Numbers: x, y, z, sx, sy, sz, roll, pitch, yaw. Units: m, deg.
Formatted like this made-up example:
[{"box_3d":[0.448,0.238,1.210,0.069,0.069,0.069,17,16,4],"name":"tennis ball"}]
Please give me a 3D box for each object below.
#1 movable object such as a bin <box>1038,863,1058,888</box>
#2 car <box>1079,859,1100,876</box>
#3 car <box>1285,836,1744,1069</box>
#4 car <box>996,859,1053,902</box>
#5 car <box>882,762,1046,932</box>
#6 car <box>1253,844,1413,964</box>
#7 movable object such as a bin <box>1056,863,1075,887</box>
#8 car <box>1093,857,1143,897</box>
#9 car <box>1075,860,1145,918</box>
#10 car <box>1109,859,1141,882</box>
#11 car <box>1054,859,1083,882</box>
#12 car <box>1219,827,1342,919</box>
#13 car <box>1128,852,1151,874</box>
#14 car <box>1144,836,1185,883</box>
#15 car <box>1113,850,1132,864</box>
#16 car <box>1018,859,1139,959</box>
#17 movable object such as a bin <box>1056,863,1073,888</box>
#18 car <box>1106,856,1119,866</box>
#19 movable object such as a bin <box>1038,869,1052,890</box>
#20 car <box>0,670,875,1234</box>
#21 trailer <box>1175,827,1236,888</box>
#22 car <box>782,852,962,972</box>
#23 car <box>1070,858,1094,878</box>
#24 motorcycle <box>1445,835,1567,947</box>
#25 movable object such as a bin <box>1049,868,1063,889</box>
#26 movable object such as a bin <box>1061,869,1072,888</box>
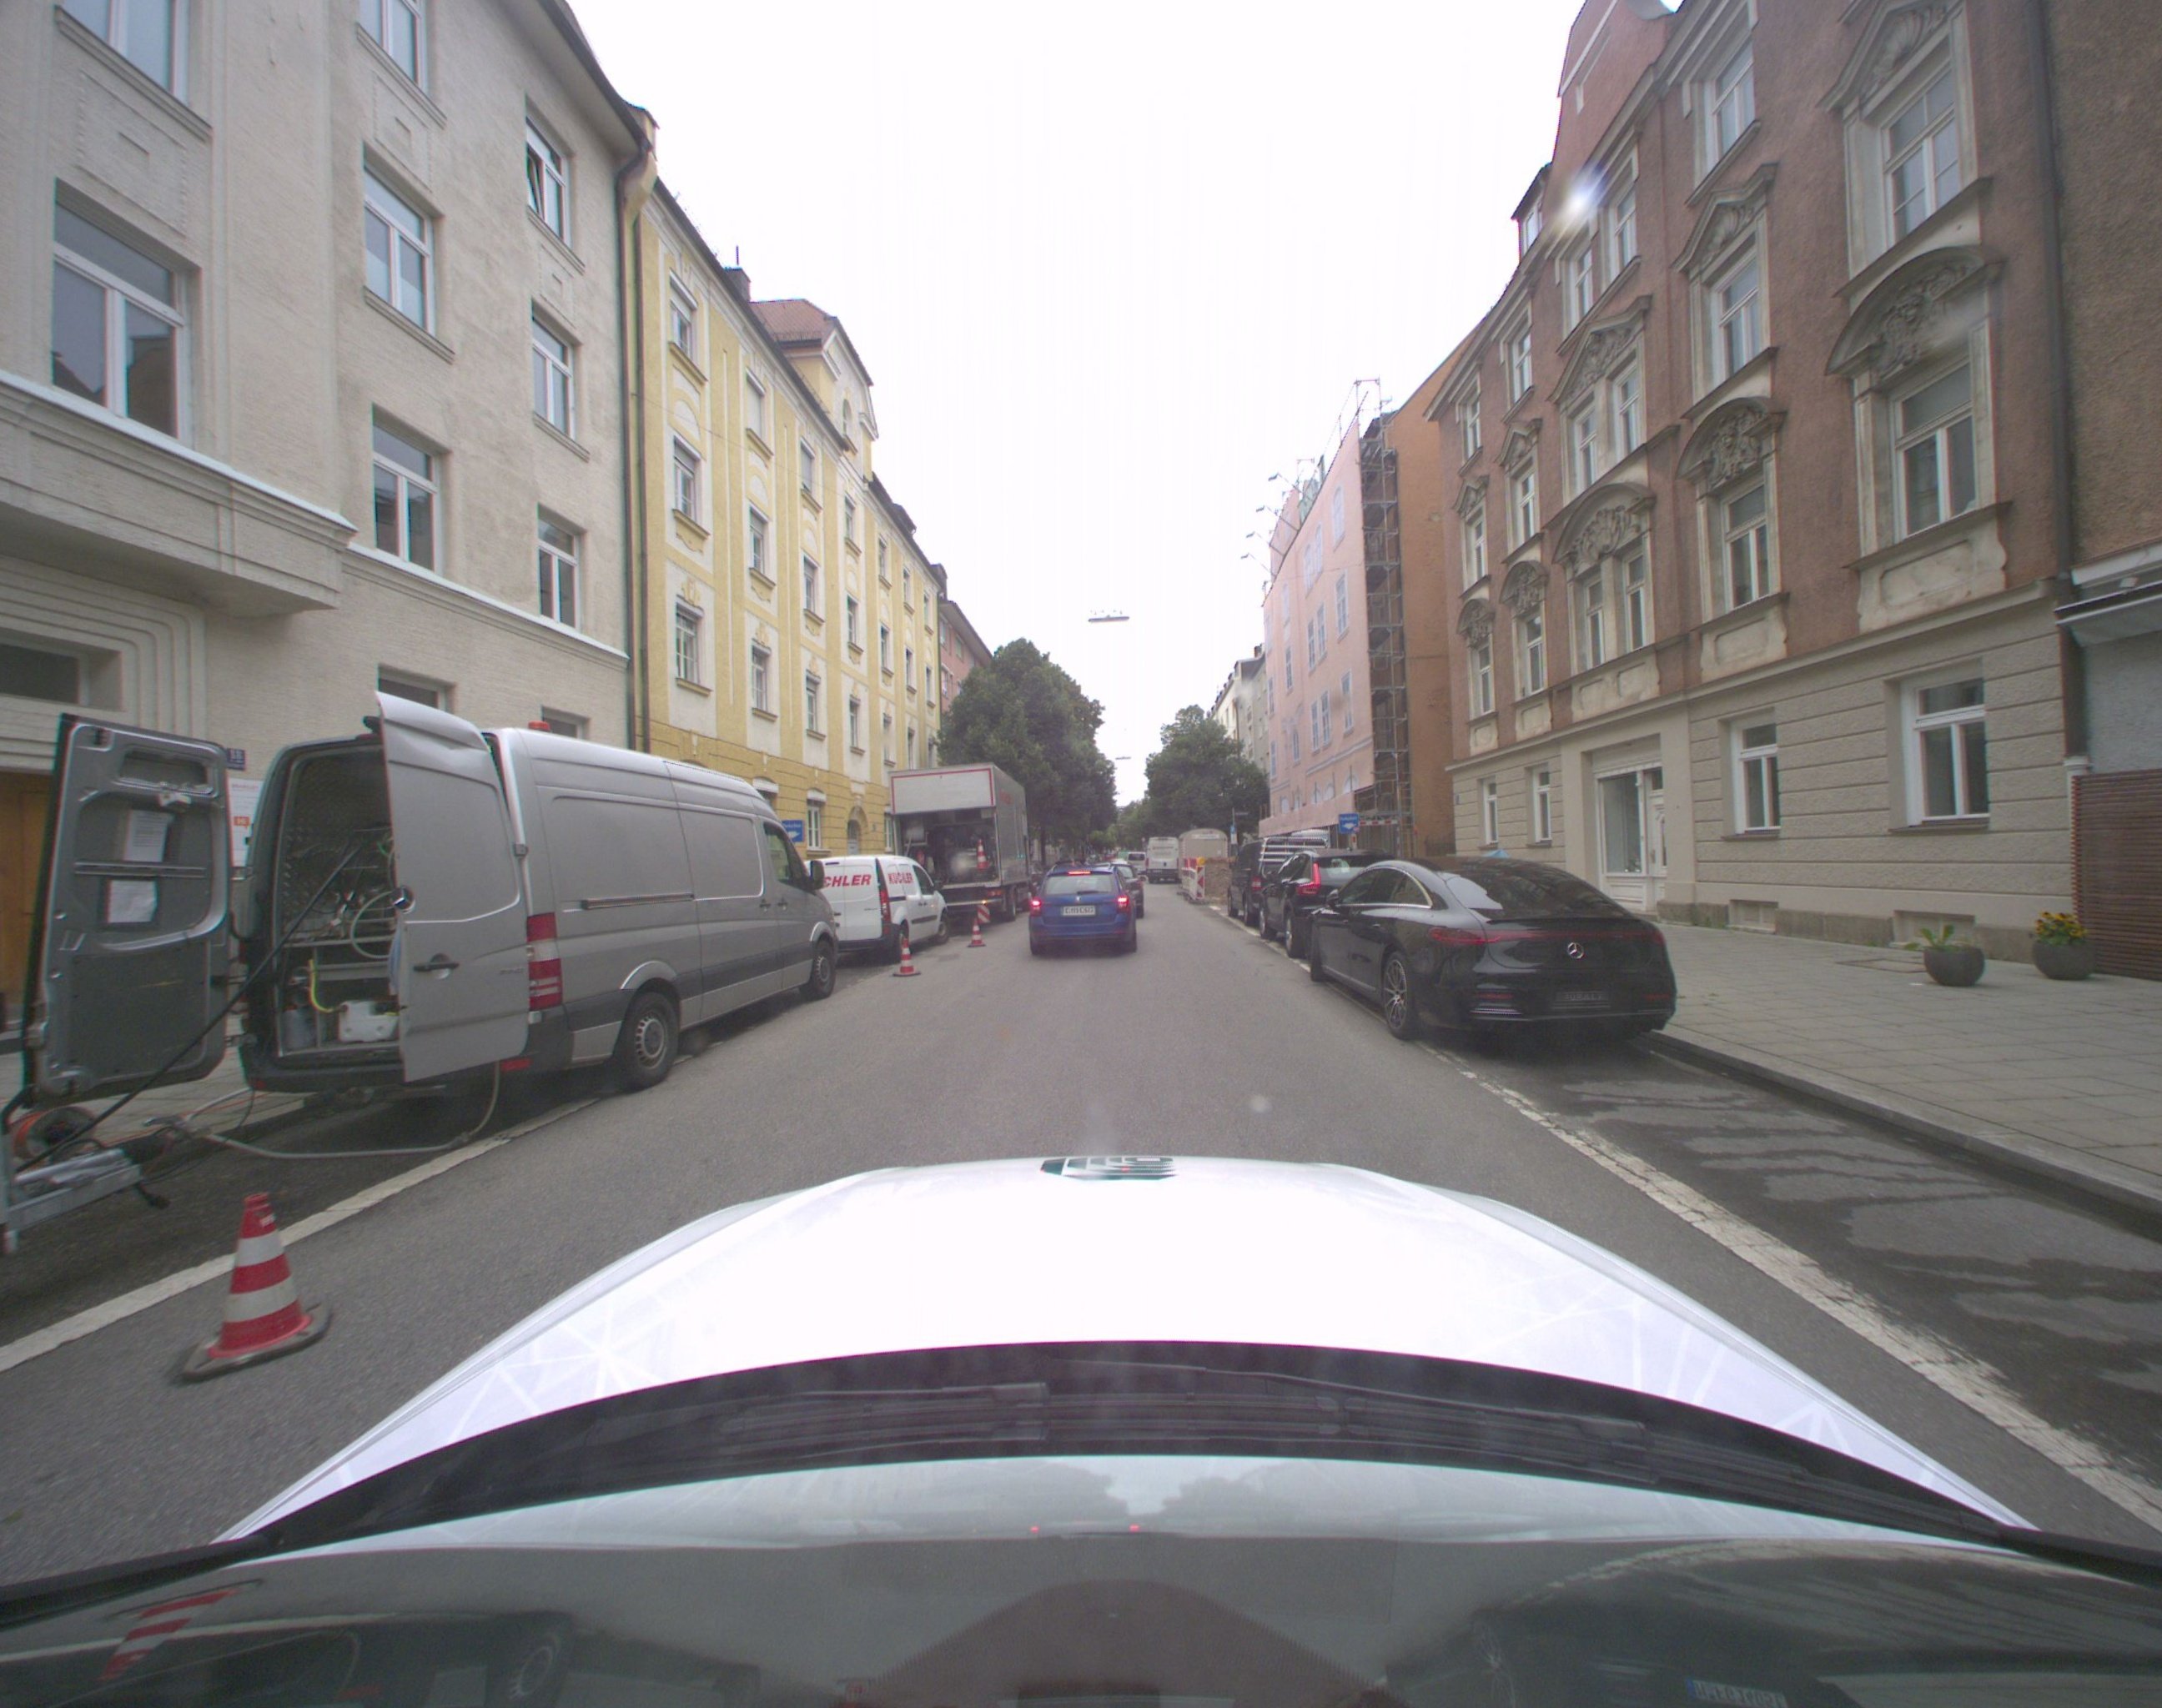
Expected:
[{"box_3d":[-1.977,1.290,49.198,1.054,1.376,1.095,-4,0,-1],"name":"movable object such as a bin"},{"box_3d":[0.843,1.281,78.701,1.804,1.478,4.004,-1,0,3],"name":"car"},{"box_3d":[3.655,0.687,8.378,1.923,1.553,5.640,-1,0,3],"name":"car"},{"box_3d":[-2.336,1.080,34.861,1.777,1.628,4.190,-3,0,4],"name":"car"},{"box_3d":[-2.911,-0.127,23.210,2.801,3.817,8.730,-2,-1,3],"name":"car"},{"box_3d":[4.075,0.741,13.899,1.686,1.676,4.413,1,-1,5],"name":"car"},{"box_3d":[-0.922,1.277,49.231,1.017,1.376,1.103,-4,0,-1],"name":"movable object such as a bin"},{"box_3d":[1.490,0.884,32.805,1.860,1.454,4.350,-1,0,3],"name":"car"},{"box_3d":[0.839,0.899,22.404,1.734,1.422,3.667,-2,-1,3],"name":"car"},{"box_3d":[2.772,0.991,50.917,1.859,1.348,4.353,-1,0,5],"name":"car"},{"box_3d":[-0.841,1.108,55.964,1.805,1.478,4.001,-1,0,2],"name":"car"},{"box_3d":[4.636,0.528,19.760,2.073,1.921,5.146,-1,-3,5],"name":"car"},{"box_3d":[5.004,0.749,69.931,1.860,1.870,4.350,-1,0,3],"name":"car"},{"box_3d":[5.077,0.329,49.061,2.100,2.664,5.514,-1,-1,9],"name":"car"},{"box_3d":[4.912,0.357,97.181,2.002,1.653,4.345,-1,0,-1],"name":"car"},{"box_3d":[0.110,0.857,14.525,1.781,1.460,4.319,-2,-1,4],"name":"car"},{"box_3d":[-0.978,1.257,48.134,0.915,1.376,1.079,-4,0,-1],"name":"movable object such as a bin"},{"box_3d":[5.165,1.159,132.740,1.999,1.653,4.352,-1,0,4],"name":"car"},{"box_3d":[-2.104,1.461,47.211,0.718,1.138,0.658,-4,0,0],"name":"movable object such as a bin"},{"box_3d":[-4.094,0.508,7.459,2.047,2.587,6.882,-6,-1,3],"name":"car"},{"box_3d":[6.268,0.209,41.898,2.491,2.840,6.907,-1,-1,3],"name":"trailer"},{"box_3d":[-3.592,0.922,14.869,1.755,1.779,4.332,-4,-1,4],"name":"car"},{"box_3d":[0.132,1.122,66.671,1.805,1.478,4.001,-1,0,2],"name":"car"},{"box_3d":[6.219,0.513,12.057,0.867,1.505,2.000,-2,-1,5],"name":"motorcycle"},{"box_3d":[-1.438,1.416,47.236,0.709,1.148,0.636,-4,0,0],"name":"movable object such as a bin"},{"box_3d":[-0.819,1.416,47.269,0.545,1.020,0.636,-4,0,0],"name":"movable object such as a bin"}]
